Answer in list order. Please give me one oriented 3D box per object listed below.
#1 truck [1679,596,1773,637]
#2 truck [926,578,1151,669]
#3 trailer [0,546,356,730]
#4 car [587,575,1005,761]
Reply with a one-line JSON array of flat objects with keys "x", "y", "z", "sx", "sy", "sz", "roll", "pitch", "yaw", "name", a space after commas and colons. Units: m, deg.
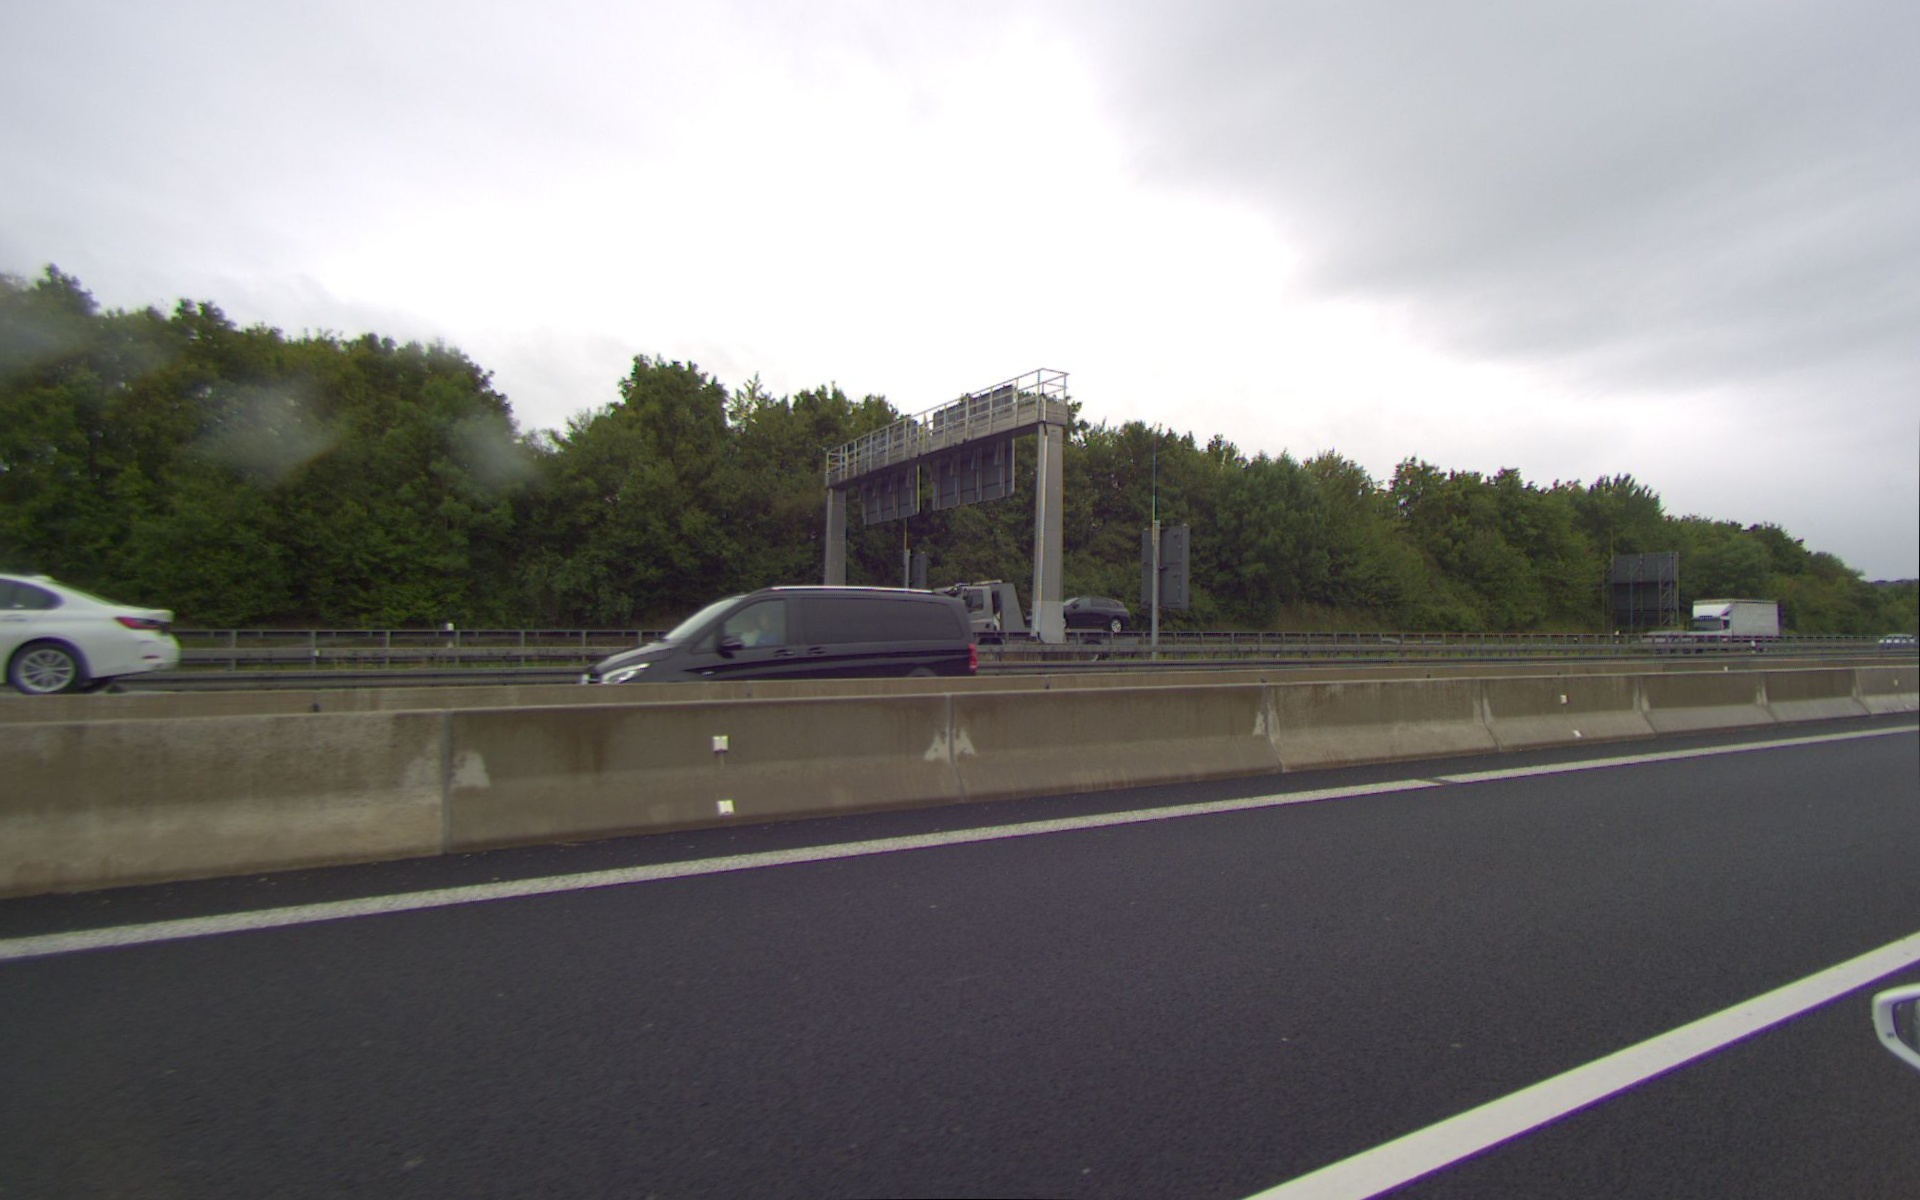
[{"x": 57.311, "y": 1.290, "z": 75.117, "sx": 8.443, "sy": 2.910, "sz": 2.725, "roll": 1, "pitch": -1, "yaw": -31, "name": "truck"}, {"x": 3.140, "y": 0.939, "z": 38.438, "sx": 8.745, "sy": 3.187, "sz": 2.501, "roll": 1, "pitch": -1, "yaw": -30, "name": "truck"}, {"x": -12.751, "y": 0.398, "z": 11.291, "sx": 10.127, "sy": 2.040, "sz": 2.524, "roll": 1, "pitch": -1, "yaw": -31, "name": "trailer"}, {"x": -2.065, "y": 0.808, "z": 13.132, "sx": 5.038, "sy": 2.040, "sz": 1.985, "roll": 1, "pitch": -1, "yaw": -29, "name": "car"}]
